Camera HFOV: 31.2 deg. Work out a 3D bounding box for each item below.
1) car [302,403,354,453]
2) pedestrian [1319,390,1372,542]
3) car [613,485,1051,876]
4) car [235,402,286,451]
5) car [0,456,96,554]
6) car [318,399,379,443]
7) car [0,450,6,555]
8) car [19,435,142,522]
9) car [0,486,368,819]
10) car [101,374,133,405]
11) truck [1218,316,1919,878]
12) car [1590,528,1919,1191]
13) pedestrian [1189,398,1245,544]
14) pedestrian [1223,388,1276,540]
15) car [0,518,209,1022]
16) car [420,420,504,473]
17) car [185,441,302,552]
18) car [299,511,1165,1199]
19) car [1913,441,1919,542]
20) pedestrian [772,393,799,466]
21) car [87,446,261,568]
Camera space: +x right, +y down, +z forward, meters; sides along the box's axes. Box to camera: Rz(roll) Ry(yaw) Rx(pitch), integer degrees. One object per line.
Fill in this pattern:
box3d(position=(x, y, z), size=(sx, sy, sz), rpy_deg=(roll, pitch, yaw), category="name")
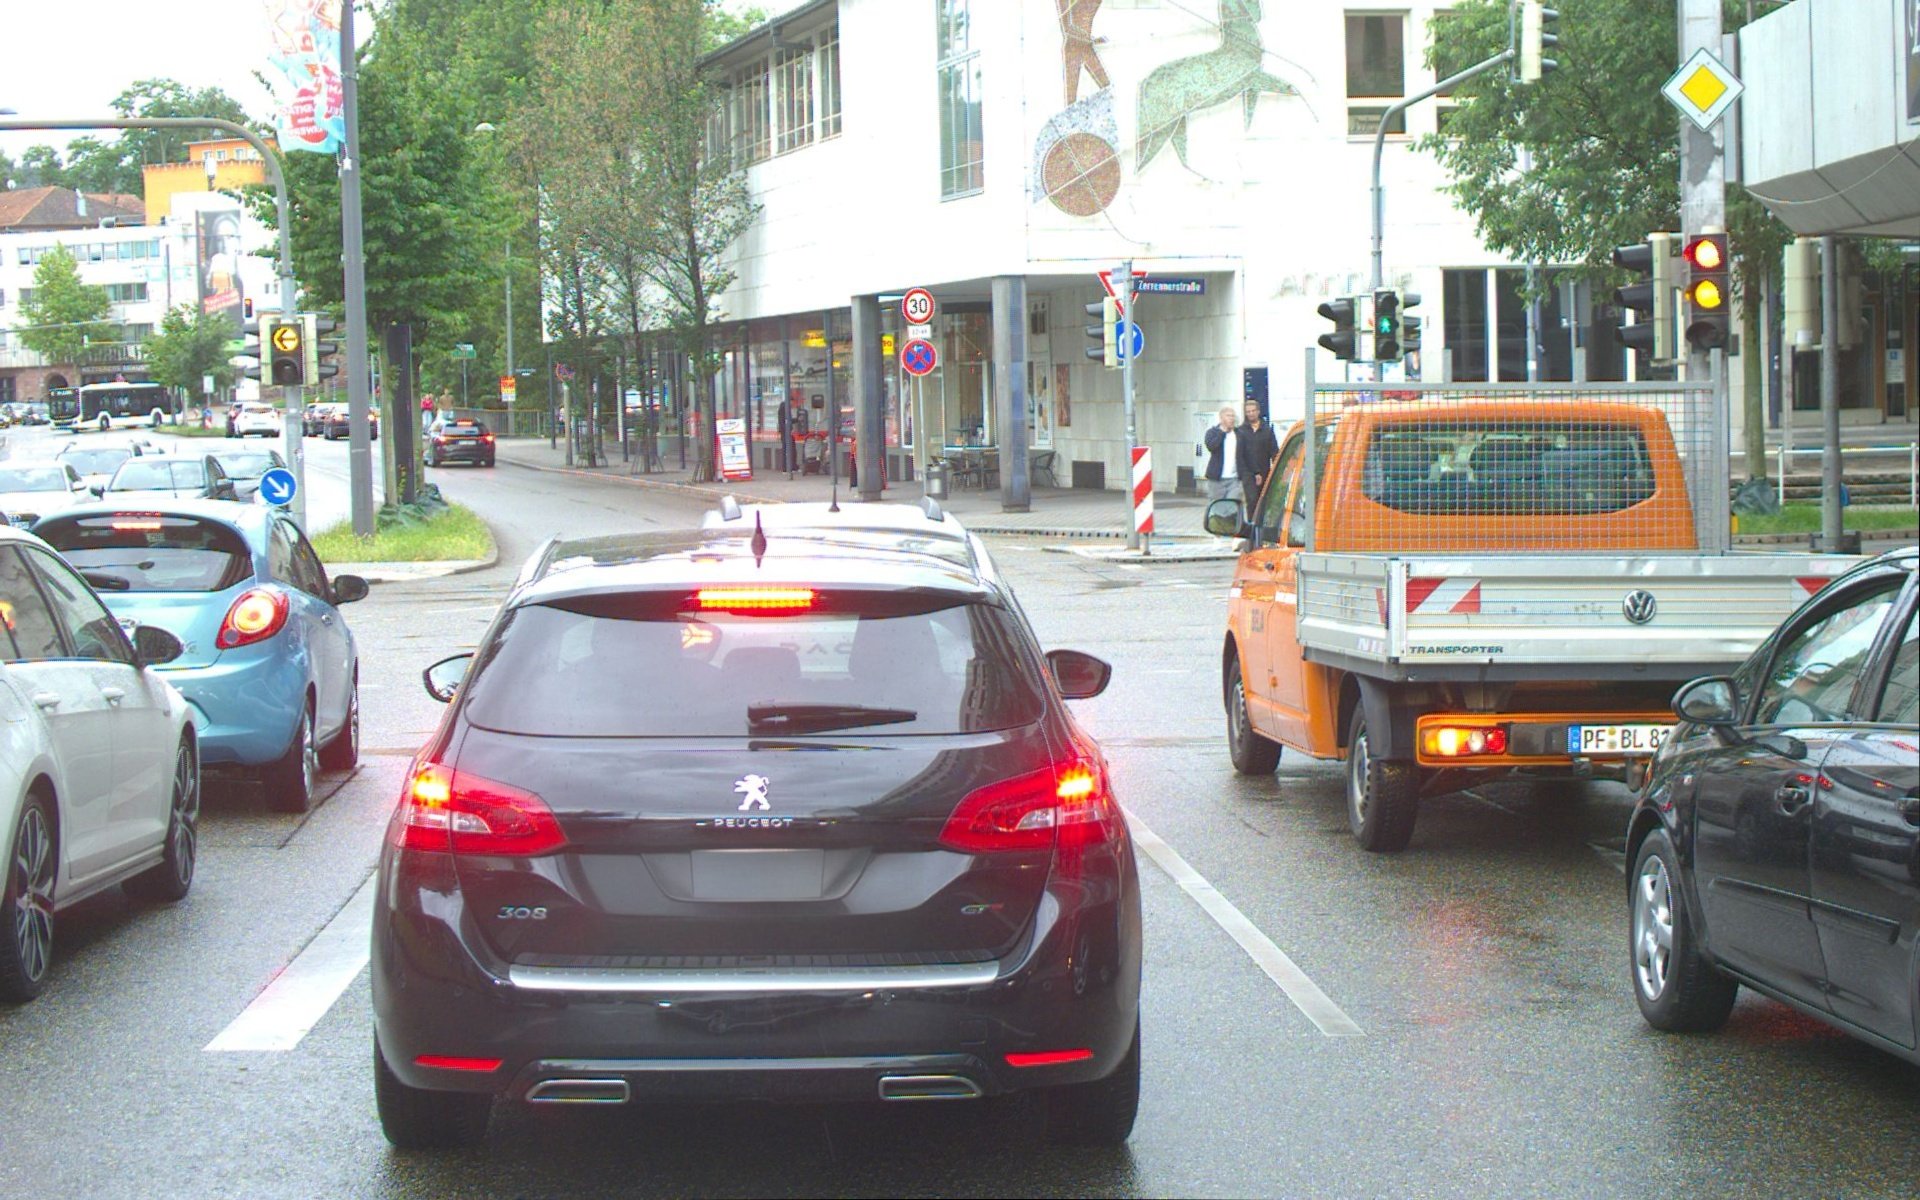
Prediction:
box3d(position=(-27.071, -7.350, 147.168), size=(1.705, 1.929, 4.001), rpy_deg=(1, 0, -18), category="car")
box3d(position=(4.874, -1.689, 43.492), size=(0.637, 1.891, 0.733), rpy_deg=(0, 0, 6), category="pedestrian")
box3d(position=(-0.527, 0.253, 15.305), size=(1.696, 1.481, 3.794), rpy_deg=(1, 2, -1), category="car")
box3d(position=(-29.686, -7.346, 145.891), size=(1.705, 1.875, 4.001), rpy_deg=(1, 0, -18), category="car")
box3d(position=(-14.649, -1.519, 54.007), size=(1.632, 1.481, 3.611), rpy_deg=(0, 2, -7), category="car")
box3d(position=(-24.435, -7.139, 137.262), size=(1.724, 1.485, 4.734), rpy_deg=(1, 0, -19), category="car")
box3d(position=(-14.244, -1.321, 47.048), size=(1.574, 1.481, 3.610), rpy_deg=(0, 2, -4), category="car")
box3d(position=(-15.545, -2.158, 60.915), size=(1.632, 1.481, 3.611), rpy_deg=(0, 2, -7), category="car")
box3d(position=(-3.982, 0.185, 17.501), size=(1.632, 1.481, 3.610), rpy_deg=(0, 2, -5), category="car")
box3d(position=(-55.068, -13.726, 224.556), size=(1.705, 1.780, 4.001), rpy_deg=(1, 0, -18), category="car")
box3d(position=(2.588, -0.108, 15.842), size=(2.177, 2.165, 5.021), rpy_deg=(1, 2, -3), category="truck")
box3d(position=(2.859, 0.560, 8.643), size=(1.616, 1.424, 3.843), rpy_deg=(0, 2, -3), category="car")
box3d(position=(3.127, -1.564, 41.823), size=(0.637, 1.752, 0.733), rpy_deg=(0, 0, 6), category="pedestrian")
box3d(position=(3.668, -1.720, 43.560), size=(0.637, 1.891, 0.733), rpy_deg=(0, 0, 6), category="pedestrian")
box3d(position=(-3.734, 0.453, 11.465), size=(1.777, 1.424, 3.843), rpy_deg=(0, 2, -3), category="car")
box3d(position=(-14.892, -4.590, 102.642), size=(1.787, 1.449, 4.508), rpy_deg=(-4, 4, -17), category="car")
box3d(position=(-11.385, -1.609, 54.767), size=(1.744, 1.634, 4.001), rpy_deg=(1, 0, -11), category="car")
box3d(position=(-0.476, 0.497, 9.016), size=(1.777, 1.424, 3.842), rpy_deg=(1, 2, 0), category="car")
box3d(position=(13.316, -1.292, 40.575), size=(3.688, 1.208, 1.835), rpy_deg=(1, 0, 4), category="car")
box3d(position=(-4.197, -4.096, 82.675), size=(0.468, 1.742, 0.541), rpy_deg=(1, 0, -21), category="pedestrian")
box3d(position=(-10.908, -1.259, 47.942), size=(1.744, 1.574, 4.000), rpy_deg=(1, 0, -4), category="car")
